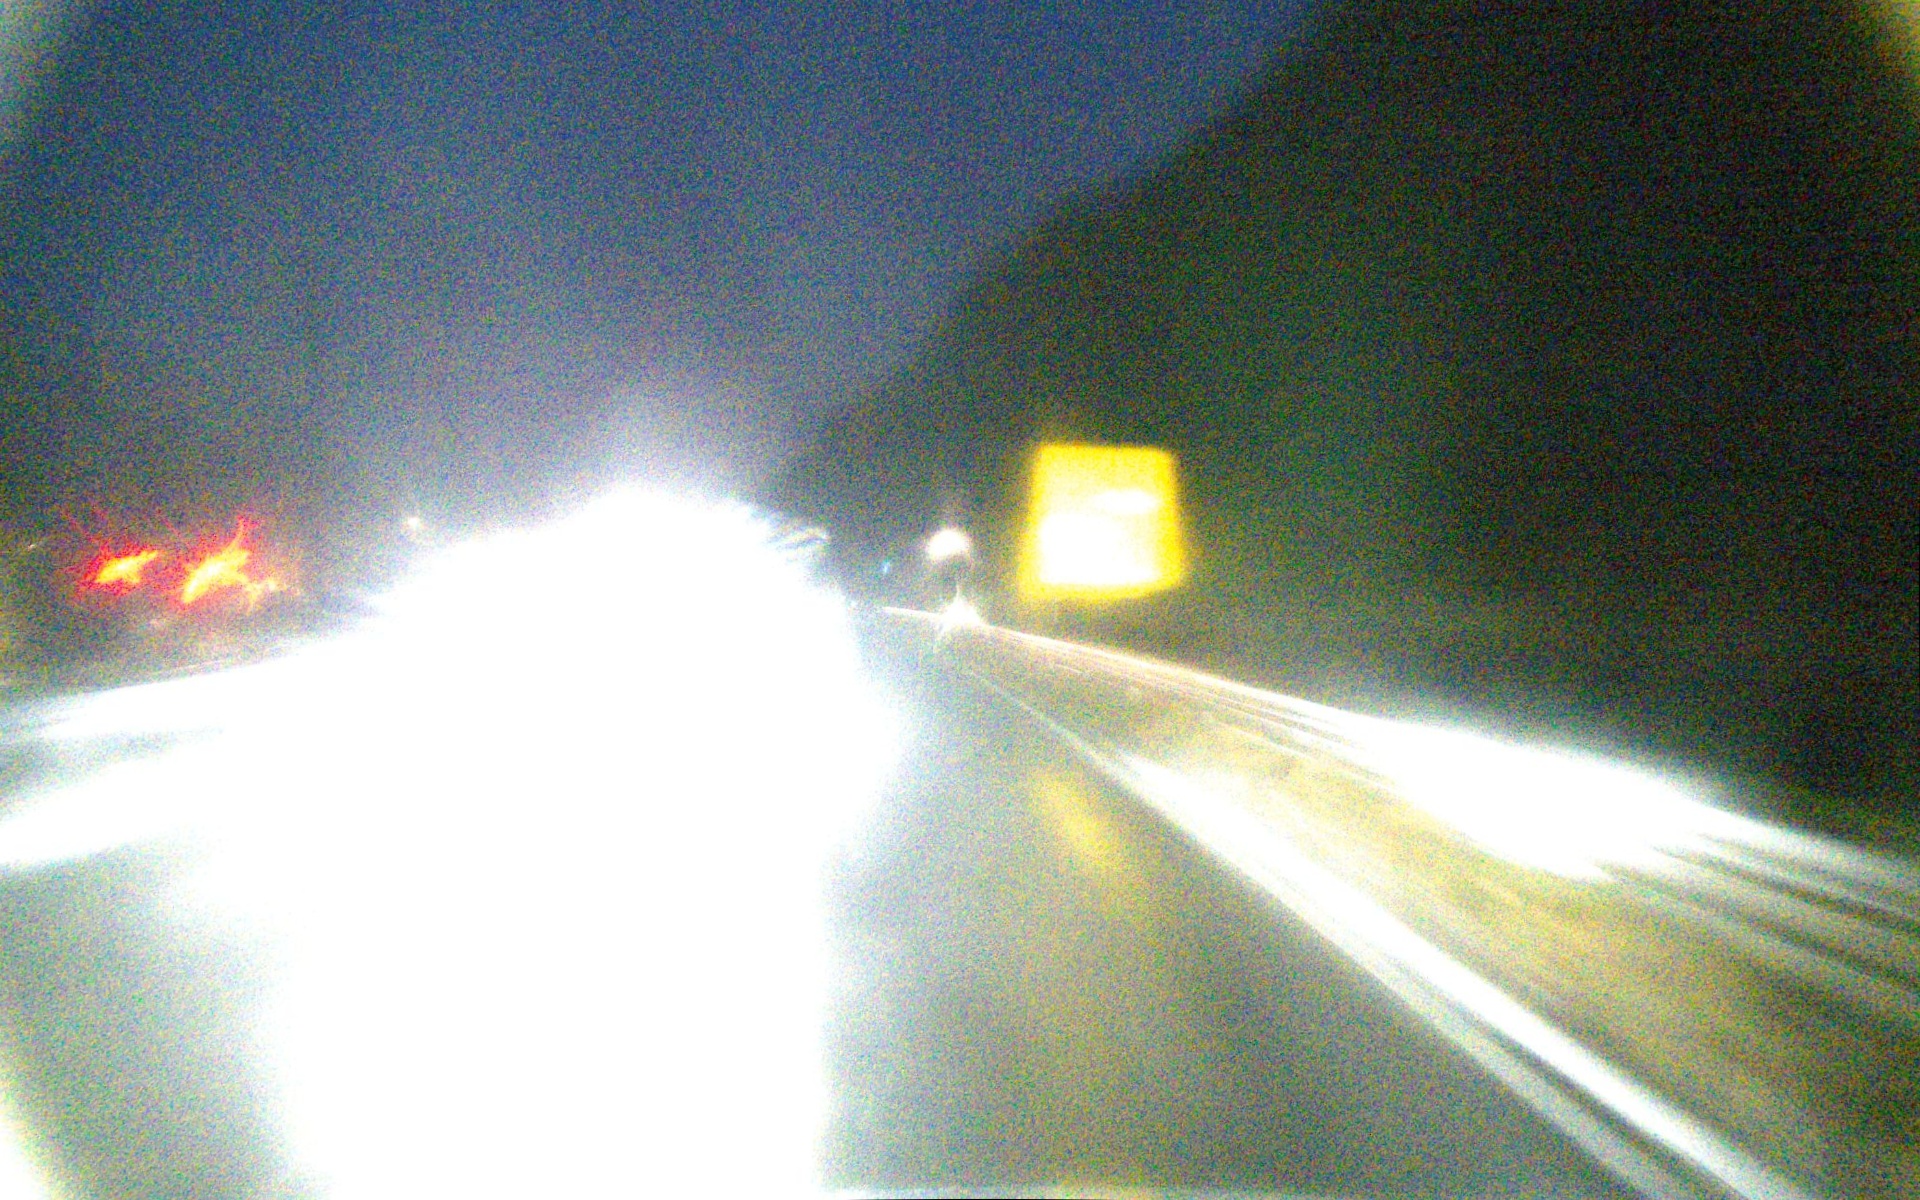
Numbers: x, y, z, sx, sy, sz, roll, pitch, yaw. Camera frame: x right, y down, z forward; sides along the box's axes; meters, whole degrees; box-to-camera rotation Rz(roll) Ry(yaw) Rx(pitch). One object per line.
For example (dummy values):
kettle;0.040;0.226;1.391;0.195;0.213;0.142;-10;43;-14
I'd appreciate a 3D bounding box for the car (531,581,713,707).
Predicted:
car;-4.767;0.582;23.972;1.954;1.641;4.608;0;0;-4

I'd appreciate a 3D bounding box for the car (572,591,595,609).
car;-33.906;-0.017;149.005;1.850;1.628;3.884;1;0;-15
